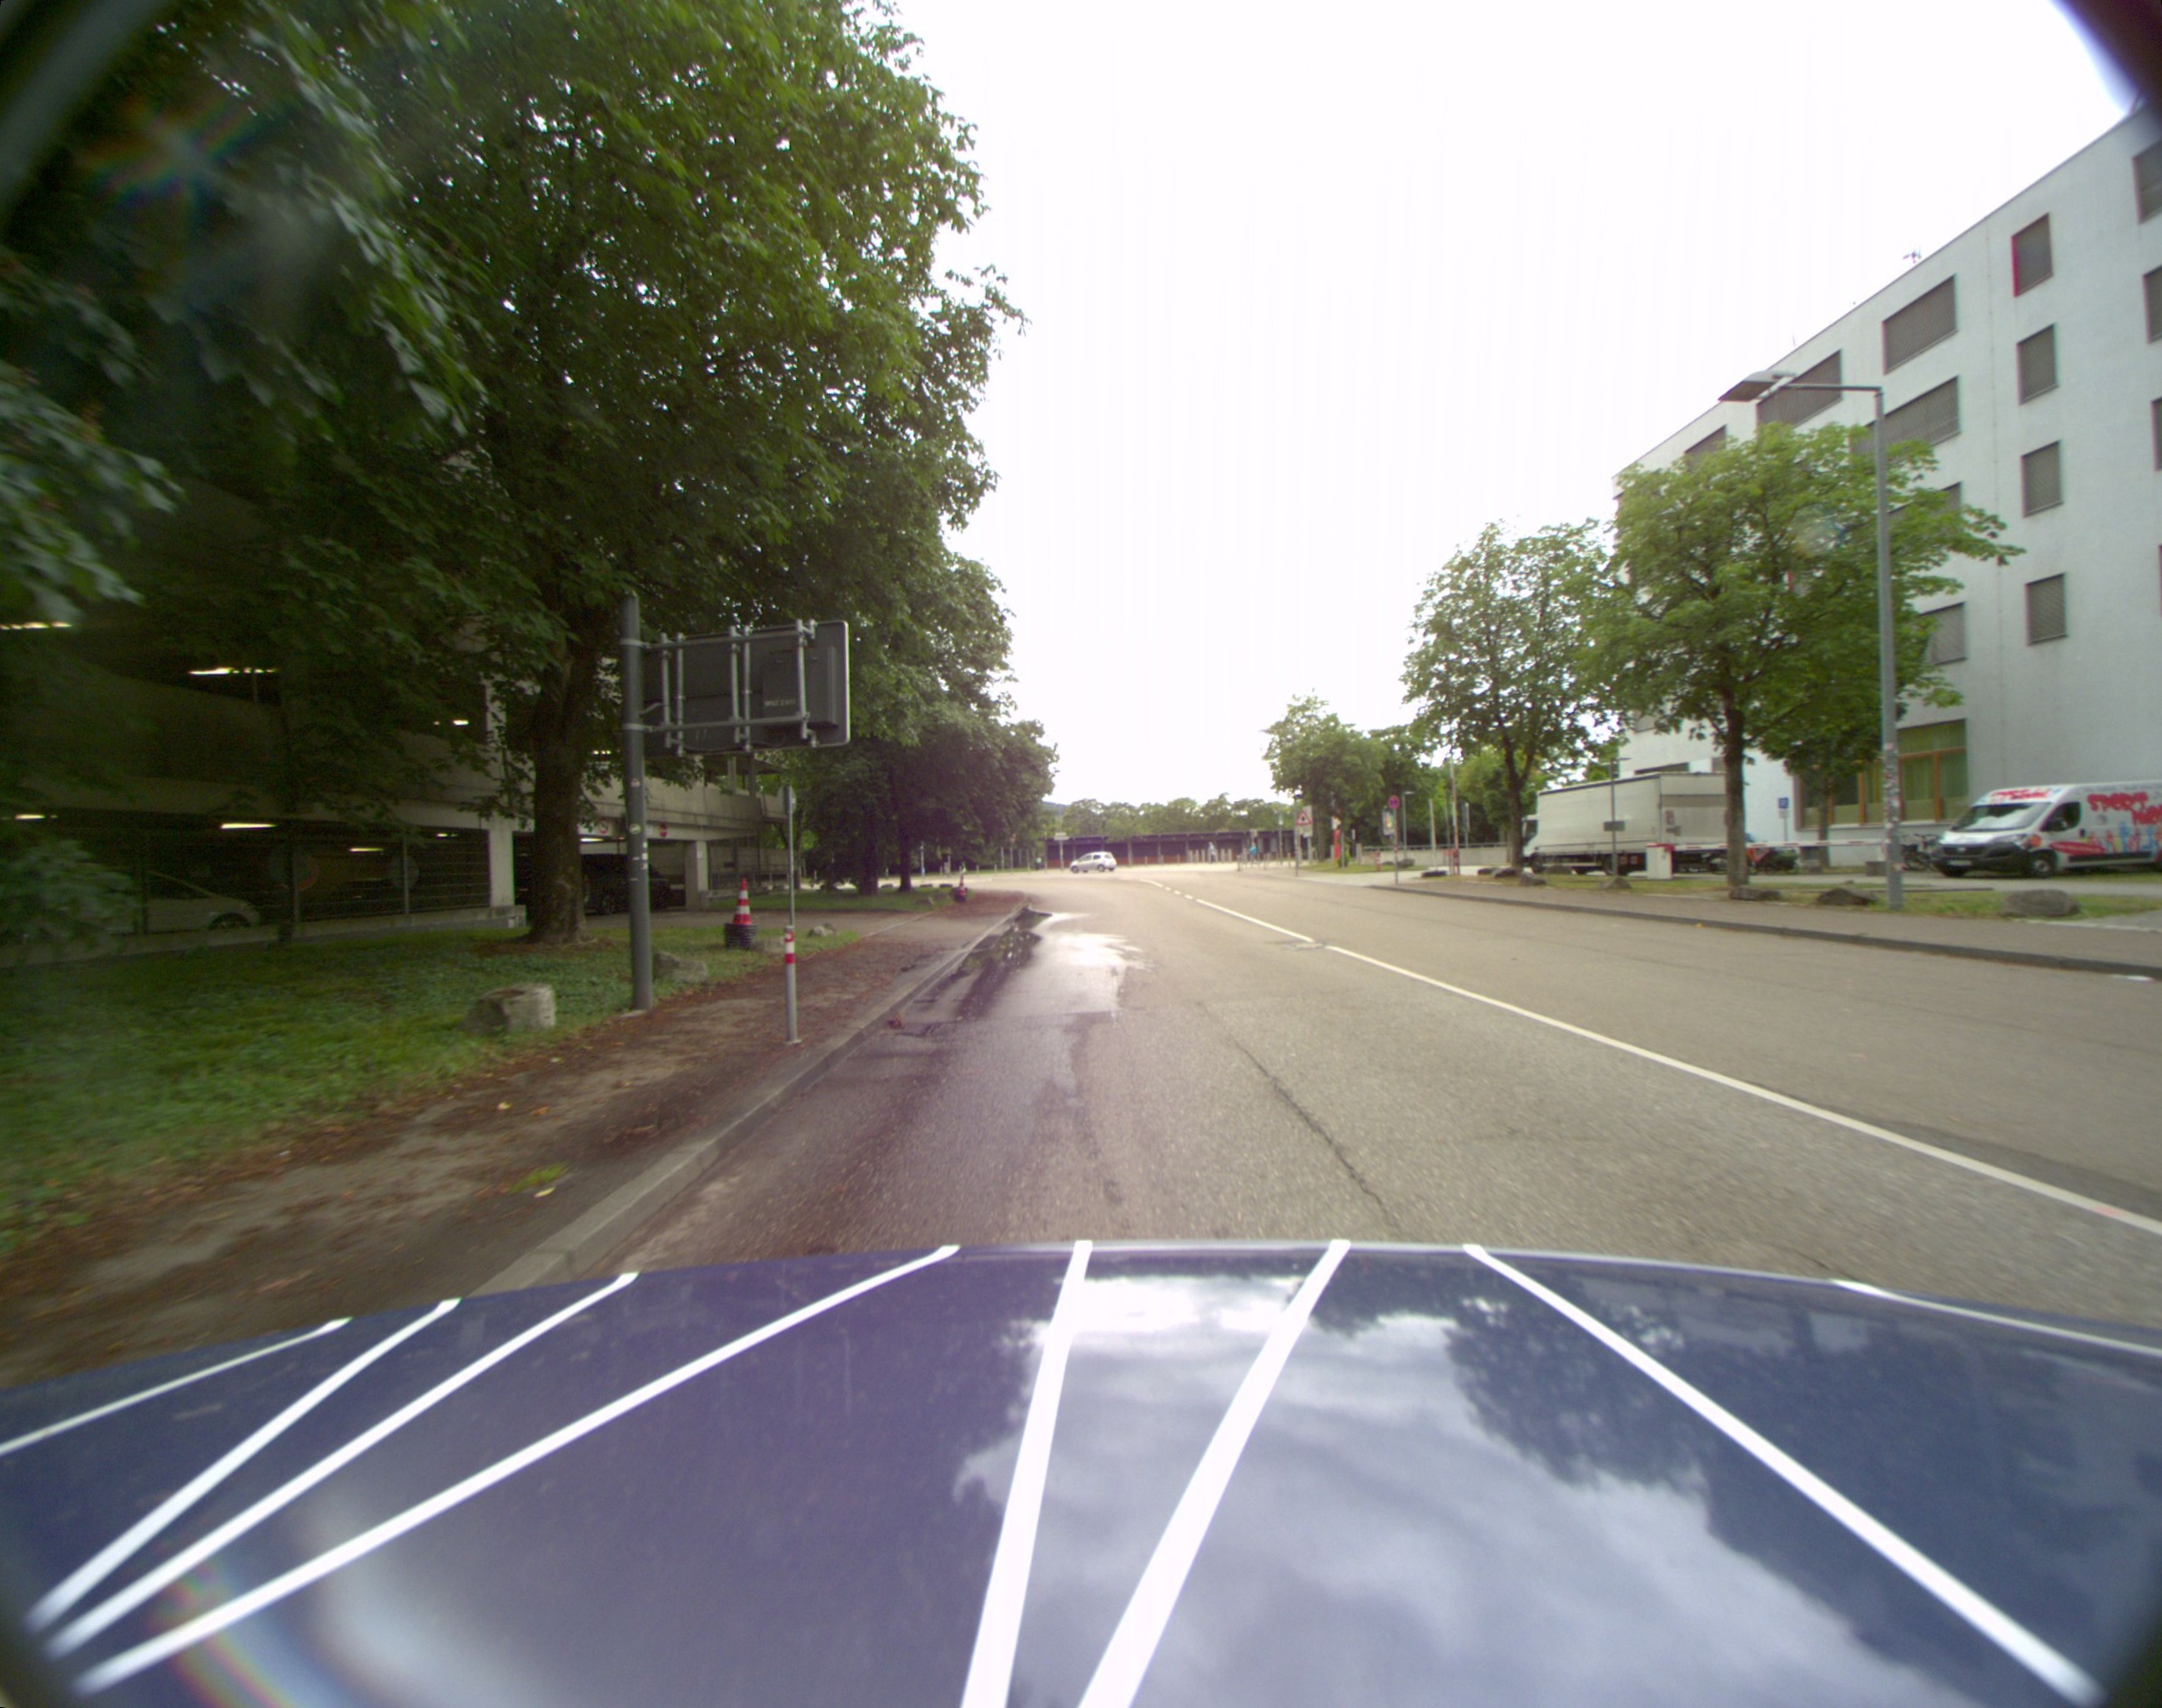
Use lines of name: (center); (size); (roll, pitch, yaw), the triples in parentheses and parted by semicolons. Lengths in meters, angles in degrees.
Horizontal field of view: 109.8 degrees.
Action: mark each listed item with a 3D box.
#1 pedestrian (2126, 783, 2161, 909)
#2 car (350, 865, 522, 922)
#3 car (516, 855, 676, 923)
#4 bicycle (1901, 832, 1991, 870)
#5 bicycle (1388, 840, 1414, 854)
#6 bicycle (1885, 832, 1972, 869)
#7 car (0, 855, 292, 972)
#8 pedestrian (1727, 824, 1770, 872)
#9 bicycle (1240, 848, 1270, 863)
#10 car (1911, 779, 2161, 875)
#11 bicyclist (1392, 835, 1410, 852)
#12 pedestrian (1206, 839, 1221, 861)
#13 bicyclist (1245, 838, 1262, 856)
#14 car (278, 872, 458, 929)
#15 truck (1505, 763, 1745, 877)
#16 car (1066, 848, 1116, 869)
pedestrian: (14.615, -0.126, 9.944); (0.846, 1.662, 0.786); (-3, 2, -6)
car: (-20.378, 1.185, 24.281); (1.876, 1.445, 4.000); (-3, 1, 3)
car: (-14.965, 1.000, 23.845); (1.924, 1.824, 4.735); (-3, 0, 0)
bicycle: (27.083, -0.094, 23.802); (2.030, 1.064, 0.613); (-3, 2, 3)
bicycle: (28.309, -0.645, 67.195); (2.052, 1.137, 0.777); (-3, 2, -10)
bicycle: (27.255, -0.116, 24.452); (2.030, 1.064, 0.613); (-3, 2, 3)
car: (-17.489, 0.963, 13.675); (1.589, 1.699, 4.666); (-3, 1, 0)
pedestrian: (23.086, -0.199, 26.291); (0.679, 1.597, 0.887); (-3, 2, -7)
bicycle: (14.477, 0.137, 63.358); (2.257, 1.117, 0.748); (-3, 2, -4)
car: (26.343, -0.754, 20.516); (5.641, 2.266, 2.078); (-3, 2, -1)
bicyclist: (28.290, -0.940, 67.186); (1.101, 1.487, 0.926); (-3, 2, -10)
pedestrian: (11.474, -0.326, 65.707); (1.200, 1.824, 0.928); (-2, 3, 11)
bicyclist: (14.361, -0.574, 63.330); (1.159, 1.422, 0.742); (-3, 2, -4)
car: (-23.072, 1.457, 24.831); (1.876, 1.445, 4.000); (-3, 1, 3)
truck: (19.947, -1.176, 28.767); (2.684, 3.580, 8.361); (-3, 1, -3)
car: (0.747, 0.343, 57.927); (3.493, 1.448, 1.610); (-2, 2, 36)
